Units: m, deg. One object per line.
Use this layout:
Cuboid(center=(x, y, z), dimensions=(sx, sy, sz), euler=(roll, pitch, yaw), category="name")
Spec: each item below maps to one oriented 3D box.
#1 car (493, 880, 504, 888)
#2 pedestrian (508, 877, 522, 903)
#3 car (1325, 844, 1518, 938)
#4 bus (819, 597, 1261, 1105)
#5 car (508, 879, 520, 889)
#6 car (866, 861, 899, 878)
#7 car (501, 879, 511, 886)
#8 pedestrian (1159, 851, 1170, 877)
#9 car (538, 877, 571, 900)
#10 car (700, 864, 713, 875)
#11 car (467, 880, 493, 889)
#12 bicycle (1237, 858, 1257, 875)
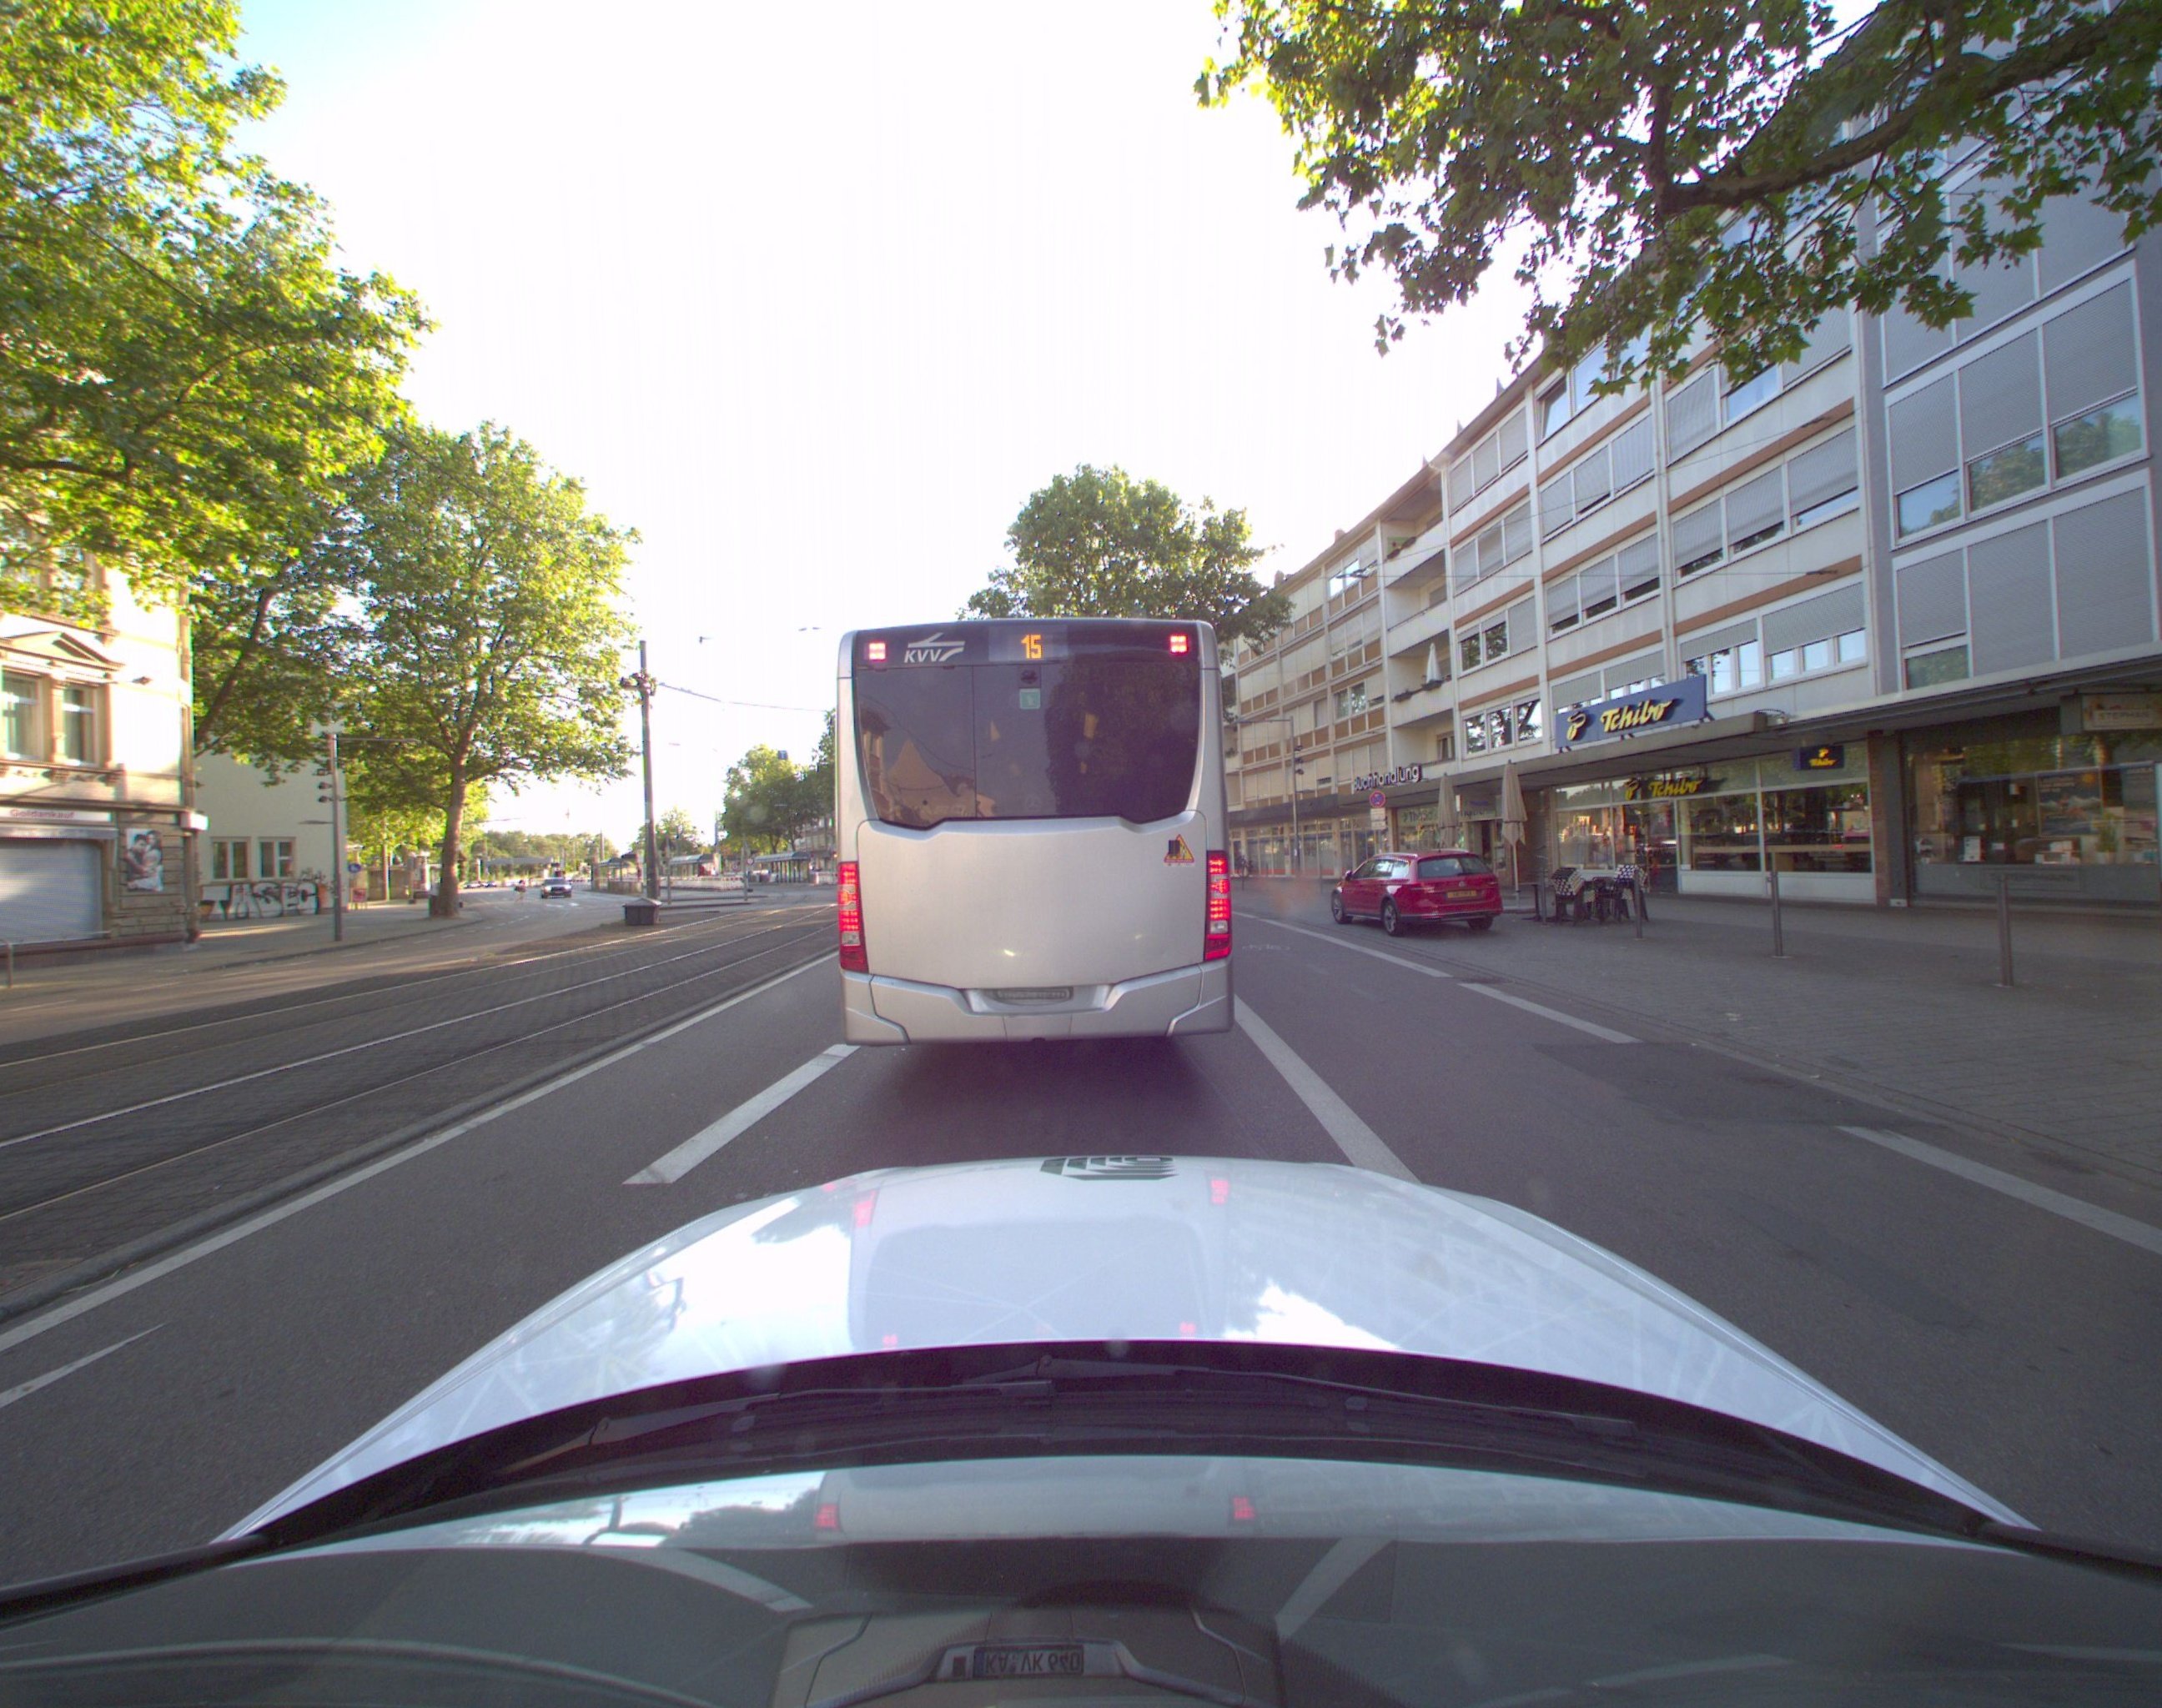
Cuboid(center=(-117.806, 6.062, 164.693), dimensions=(1.858, 1.684, 3.676), euler=(-2, -1, -35), category="car")
Cuboid(center=(-36.964, 2.344, 53.196), dimensions=(0.661, 1.656, 0.438), euler=(-2, -1, -41), category="pedestrian")
Cuboid(center=(6.371, 0.636, 15.831), dimensions=(1.765, 1.482, 4.300), euler=(-3, 0, -2), category="car")
Cuboid(center=(-0.103, 0.012, 9.915), dimensions=(2.621, 3.028, 10.000), euler=(-1, 0, 2), category="bus")
Cuboid(center=(-111.425, 5.875, 160.032), dimensions=(1.858, 1.684, 3.677), euler=(-4, 1, -35), category="car")
Cuboid(center=(-21.636, 1.708, 88.821), dimensions=(2.010, 1.792, 3.954), euler=(0, -1, -39), category="car")
Cuboid(center=(-130.068, 6.446, 184.213), dimensions=(1.858, 1.684, 3.676), euler=(-2, -1, -35), category="car")
Cuboid(center=(5.563, 0.670, 54.264), dimensions=(0.536, 1.648, 0.612), euler=(-2, -1, -15), category="pedestrian")
Cuboid(center=(-40.059, 2.600, 61.940), dimensions=(2.008, 1.640, 3.958), euler=(-2, -1, -33), category="car")
Cuboid(center=(-66.966, 2.768, 145.720), dimensions=(1.629, 2.014, 3.080), euler=(-2, -1, -32), category="car")
Cuboid(center=(-122.645, 6.299, 166.157), dimensions=(1.768, 1.640, 4.024), euler=(-3, -1, 44), category="car")
Cuboid(center=(9.247, 0.716, 45.501), dimensions=(0.413, 0.945, 1.431), euler=(-2, -1, -18), category="bicycle")
